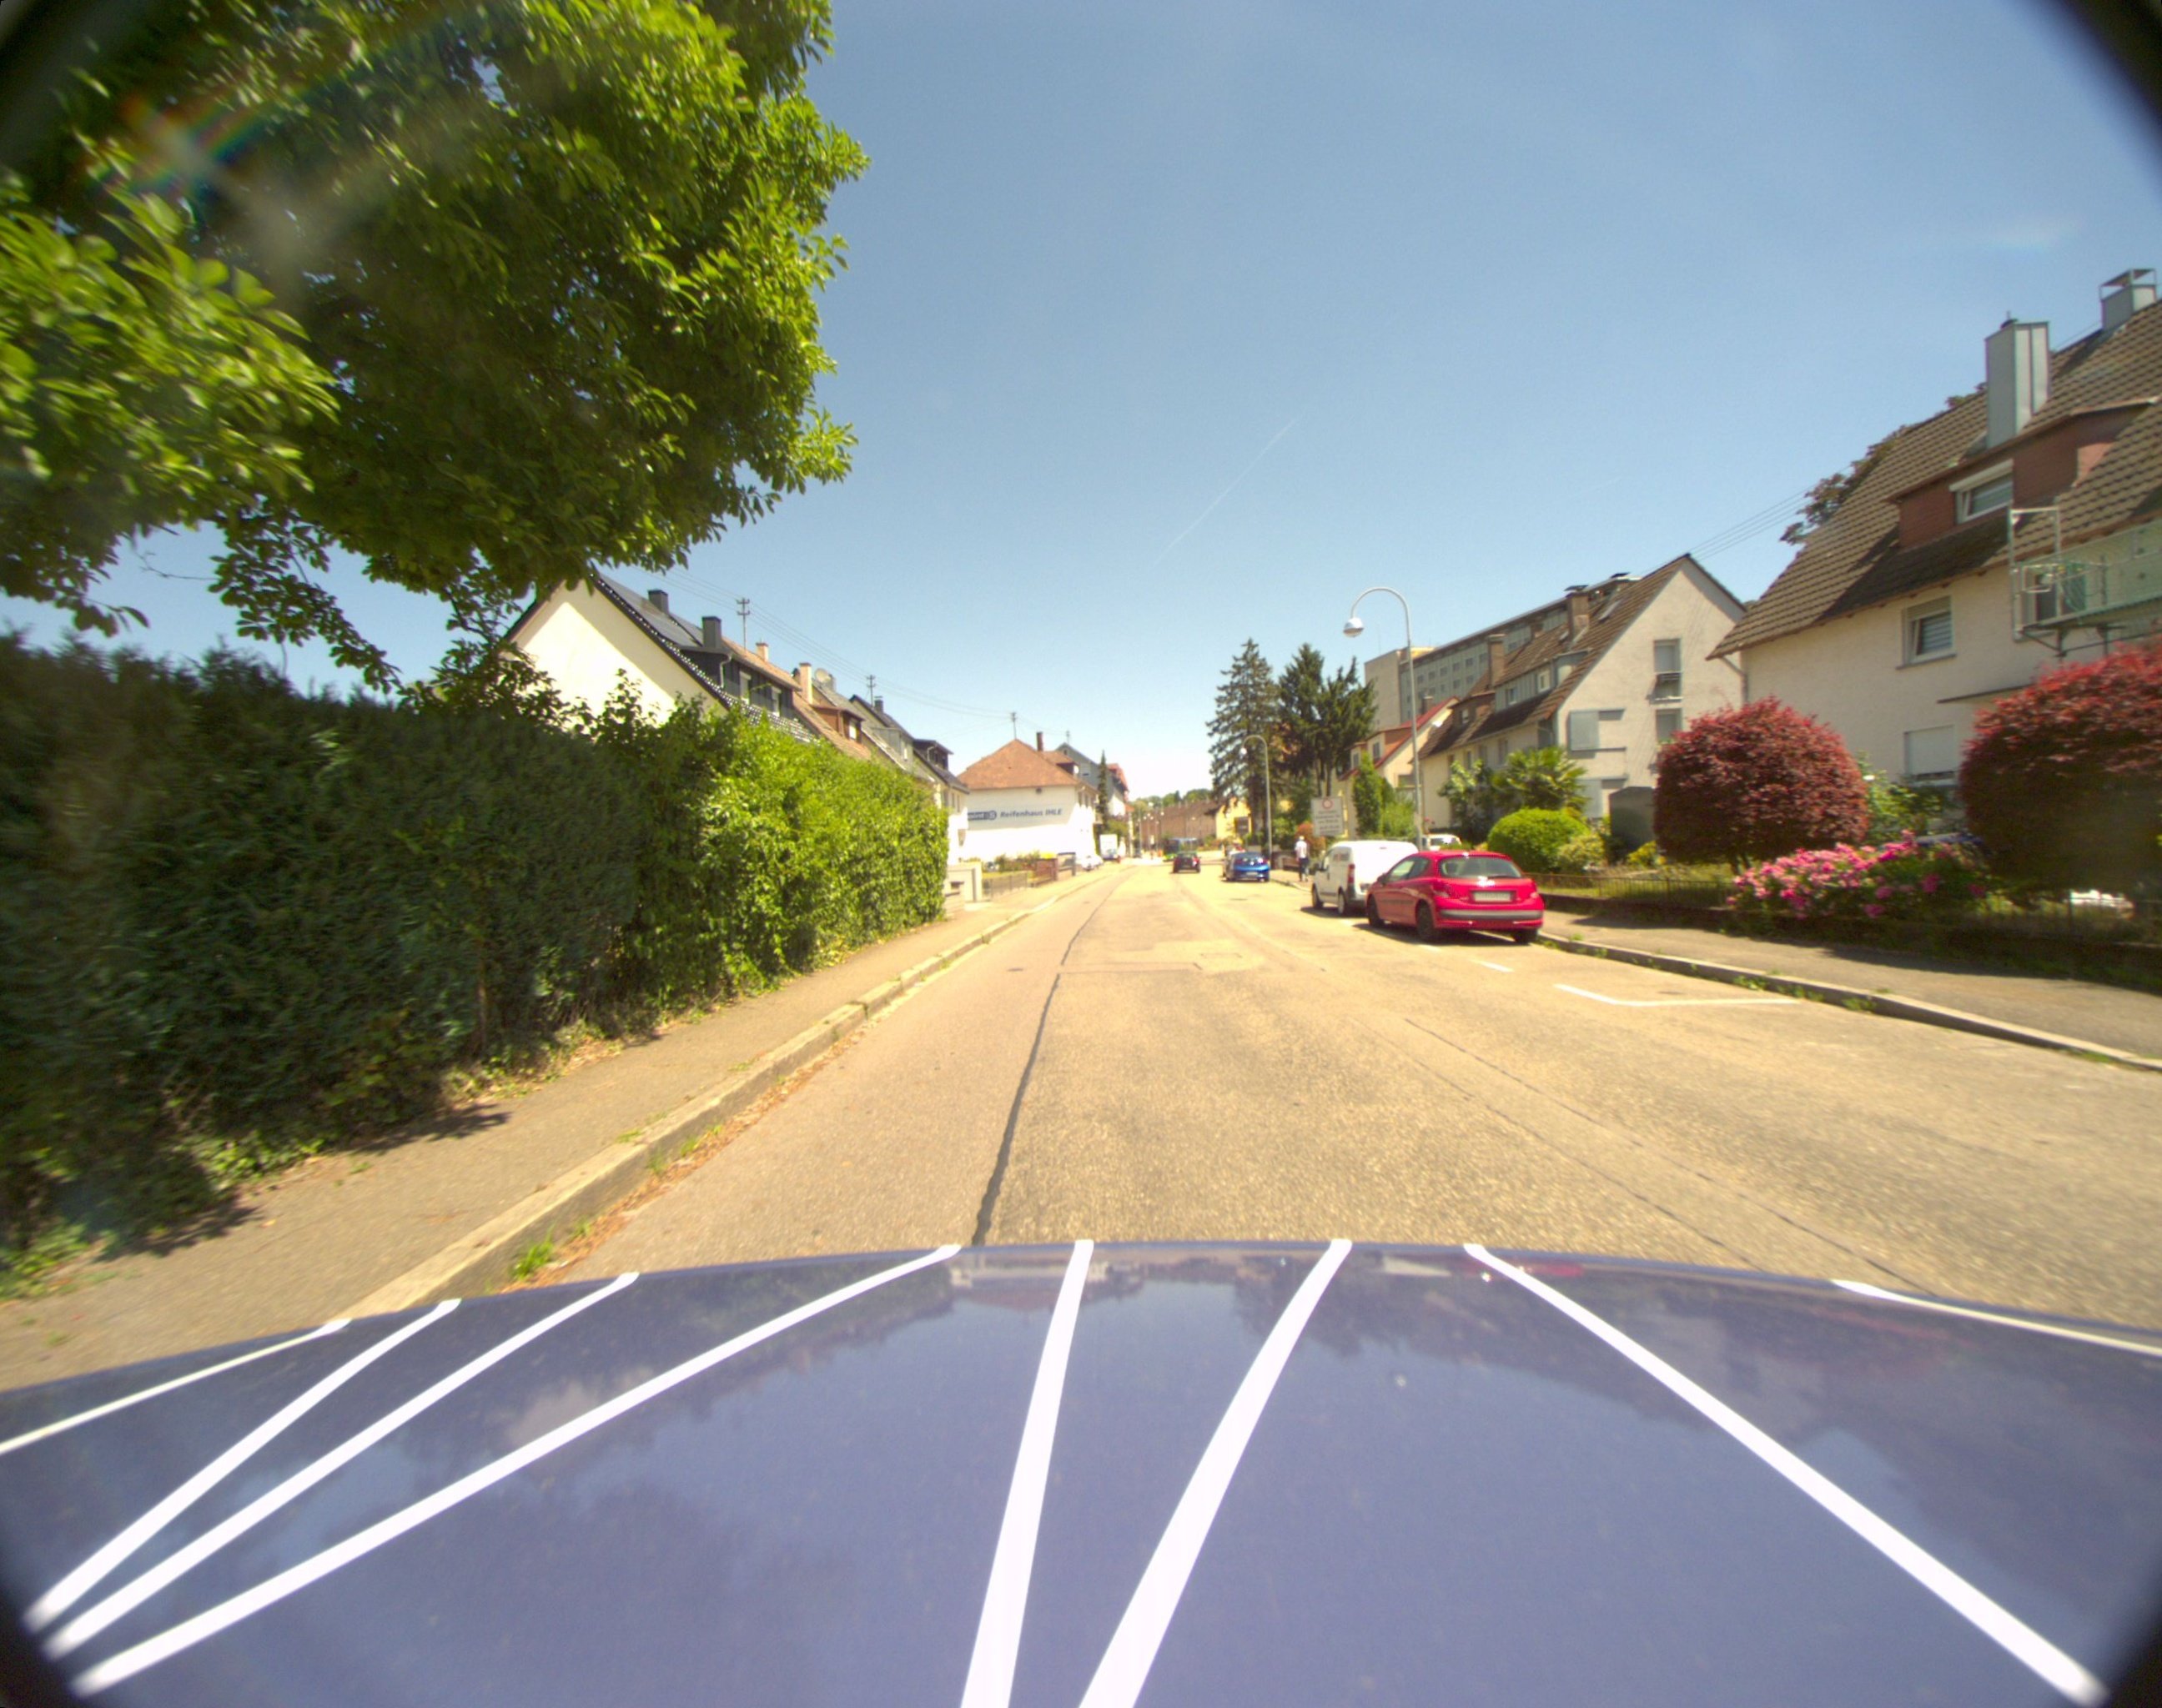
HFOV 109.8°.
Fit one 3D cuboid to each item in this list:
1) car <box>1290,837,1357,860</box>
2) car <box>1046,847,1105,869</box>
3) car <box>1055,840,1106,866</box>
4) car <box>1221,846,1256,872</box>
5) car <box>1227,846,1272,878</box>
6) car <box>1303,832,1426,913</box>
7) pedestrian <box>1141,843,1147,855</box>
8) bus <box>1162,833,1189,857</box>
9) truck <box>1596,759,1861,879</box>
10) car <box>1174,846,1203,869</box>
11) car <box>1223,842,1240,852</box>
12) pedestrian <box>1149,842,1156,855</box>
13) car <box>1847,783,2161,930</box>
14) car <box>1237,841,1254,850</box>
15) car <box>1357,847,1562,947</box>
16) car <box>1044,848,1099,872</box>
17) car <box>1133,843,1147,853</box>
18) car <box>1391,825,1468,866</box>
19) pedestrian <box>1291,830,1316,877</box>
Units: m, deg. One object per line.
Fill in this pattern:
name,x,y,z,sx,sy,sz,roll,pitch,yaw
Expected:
car,17.997,-0.404,56.551,4.476,1.433,1.848,-4,1,11
car,-0.462,0.339,65.137,4.649,1.400,1.770,-6,0,9
car,-0.010,-0.095,67.651,4.301,1.820,1.739,-6,0,0
car,8.995,0.258,43.591,1.581,1.415,3.942,-1,1,6
car,8.170,0.348,37.153,1.772,1.430,4.364,-1,1,8
car,6.645,0.382,18.244,1.726,1.726,3.887,-1,1,4
pedestrian,8.757,-0.718,106.068,0.614,1.607,0.751,0,2,25
bus,13.439,-1.371,107.158,2.908,3.063,12.569,-3,1,10
truck,12.885,-0.660,15.295,3.777,1.926,1.546,-6,0,3
car,7.280,0.183,51.098,1.735,1.409,4.002,-1,1,10
car,22.716,-1.049,114.749,1.742,1.496,4.148,-1,1,23
pedestrian,10.110,-0.769,107.454,0.750,1.795,0.615,0,2,-6
car,12.630,-0.026,9.653,1.689,1.505,4.000,-7,0,1
car,27.052,-1.413,124.650,1.807,1.480,4.394,-1,0,25
car,6.327,0.626,13.264,1.764,1.469,4.059,-1,1,4
car,-0.821,0.521,62.222,4.293,1.539,1.759,-5,2,40
car,9.091,-0.992,117.219,1.761,1.505,3.743,0,2,9
car,15.436,-0.443,33.916,1.772,1.500,4.361,-4,3,7
pedestrian,9.424,-0.043,32.255,0.690,1.879,1.019,-8,1,10
